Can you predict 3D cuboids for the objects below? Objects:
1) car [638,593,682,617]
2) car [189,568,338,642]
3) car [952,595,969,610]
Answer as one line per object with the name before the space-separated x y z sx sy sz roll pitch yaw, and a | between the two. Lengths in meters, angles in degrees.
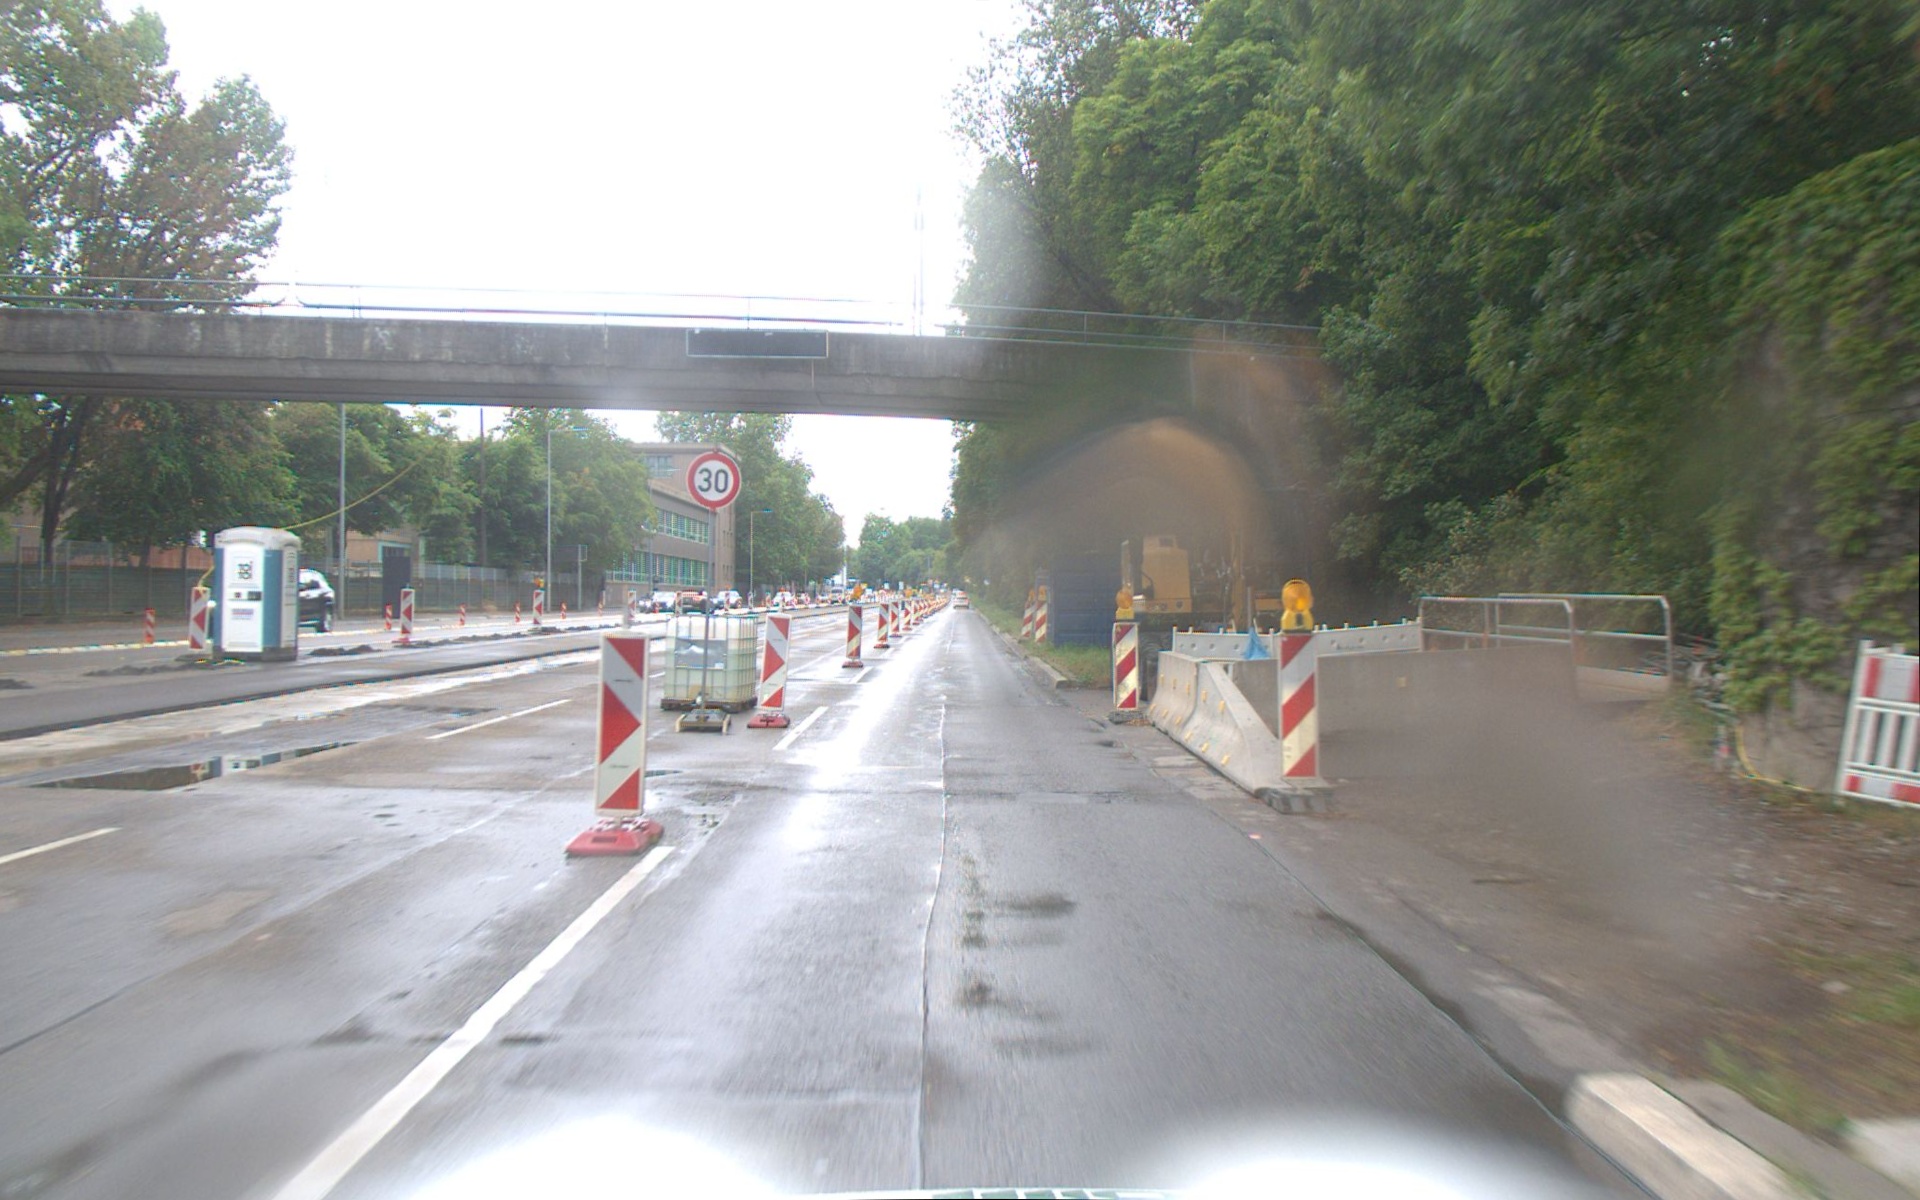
car | -18.322 0.307 101.168 1.930 1.467 4.000 0 0 1
car | -18.242 0.132 43.548 1.930 1.837 4.607 0 0 1
car | 0.050 0.271 188.148 1.953 1.669 3.999 0 0 -1
